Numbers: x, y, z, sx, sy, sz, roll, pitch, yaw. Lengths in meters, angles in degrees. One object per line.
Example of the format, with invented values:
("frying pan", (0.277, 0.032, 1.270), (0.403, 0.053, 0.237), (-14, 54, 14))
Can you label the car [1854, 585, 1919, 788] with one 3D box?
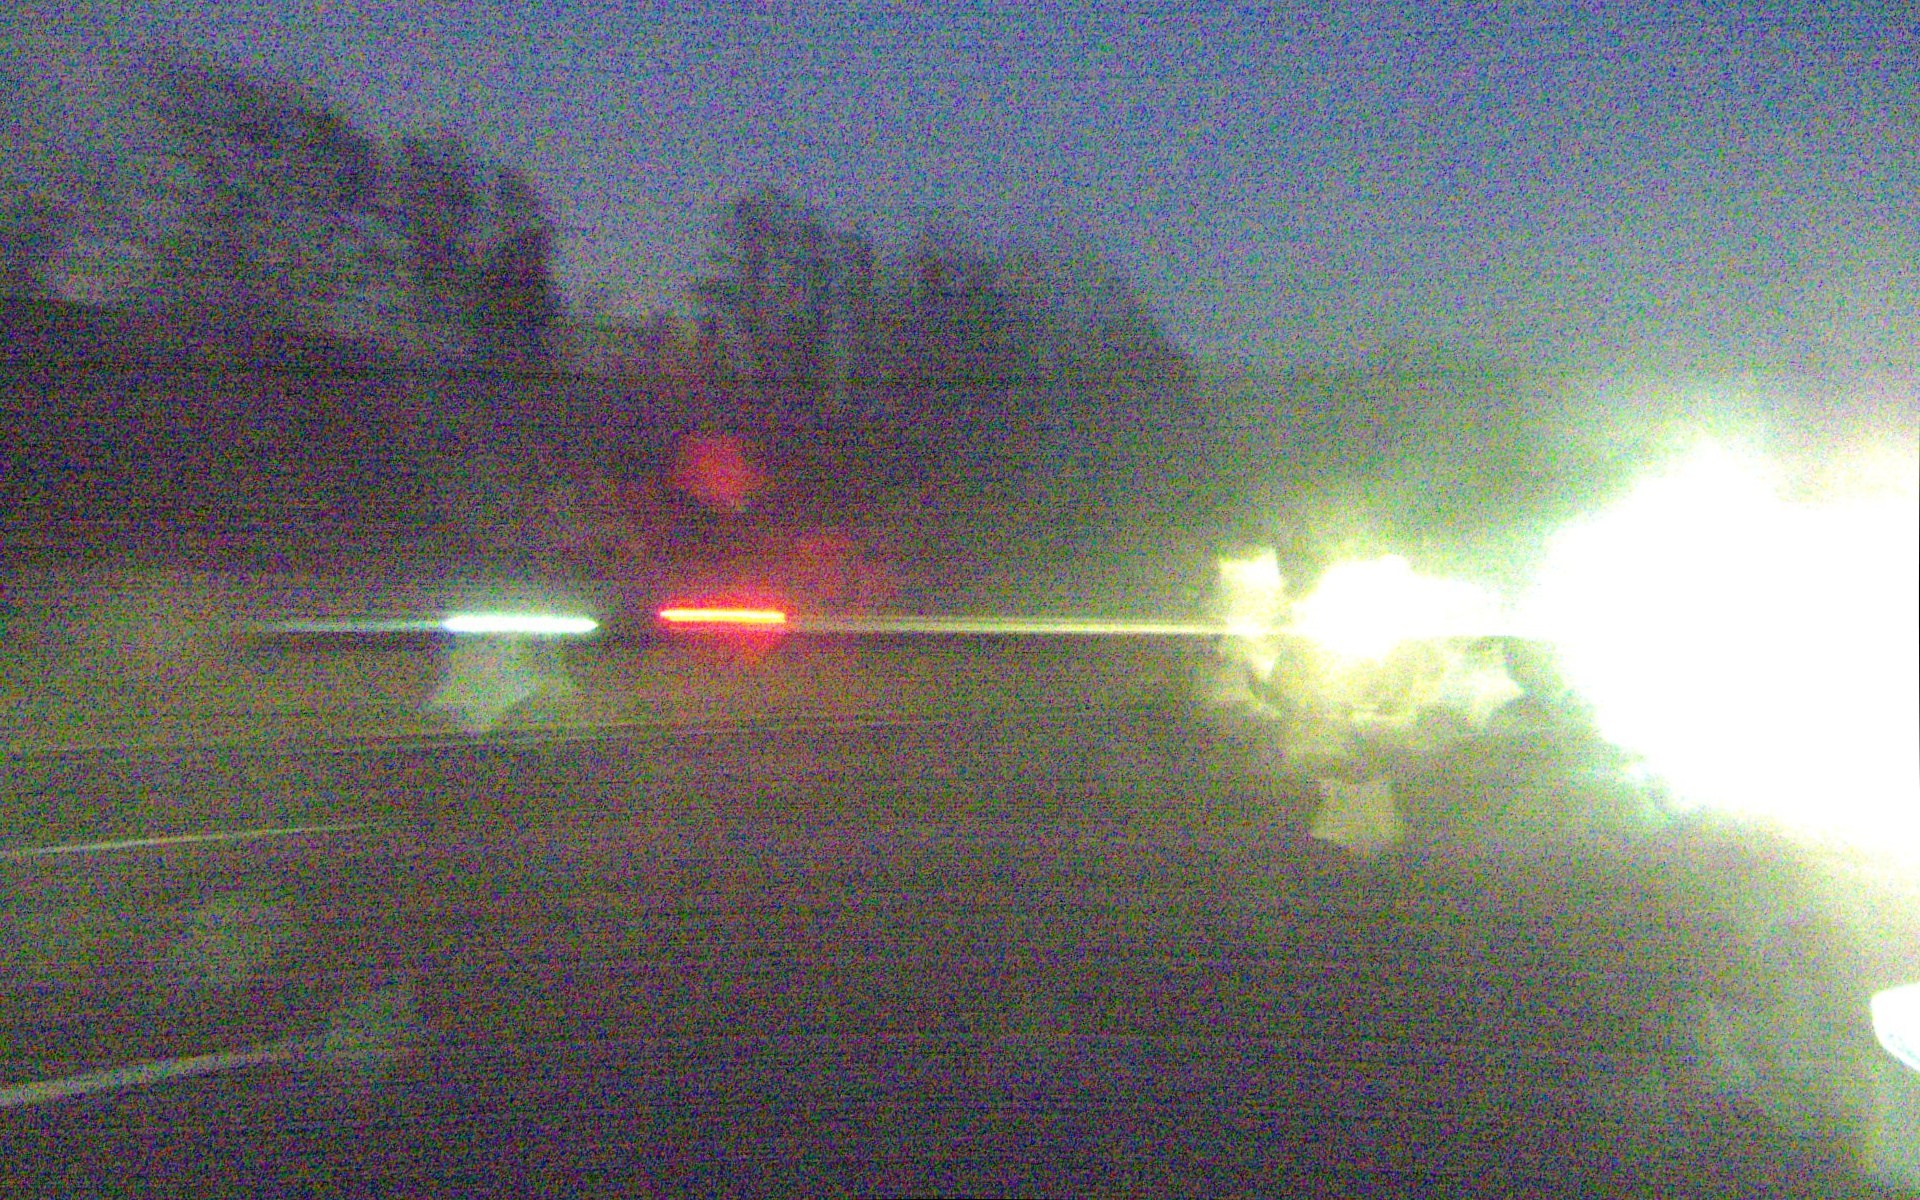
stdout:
("car", (11.021, 0.845, 9.755), (5.063, 1.816, 1.944), (2, 0, -30))

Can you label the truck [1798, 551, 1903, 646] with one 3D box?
("truck", (62.028, -0.085, 69.950), (6.104, 6.211, 3.443), (1, 4, -32))

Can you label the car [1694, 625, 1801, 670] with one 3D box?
("car", (32.572, 1.946, 41.541), (4.622, 1.617, 1.982), (2, 2, -32))

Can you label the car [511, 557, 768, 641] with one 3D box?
("car", (-6.878, -0.014, 21.696), (4.963, 1.617, 1.983), (1, 2, -31))

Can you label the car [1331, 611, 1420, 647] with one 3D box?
("car", (19.051, 1.336, 45.981), (3.941, 1.491, 1.766), (2, 2, -32))
